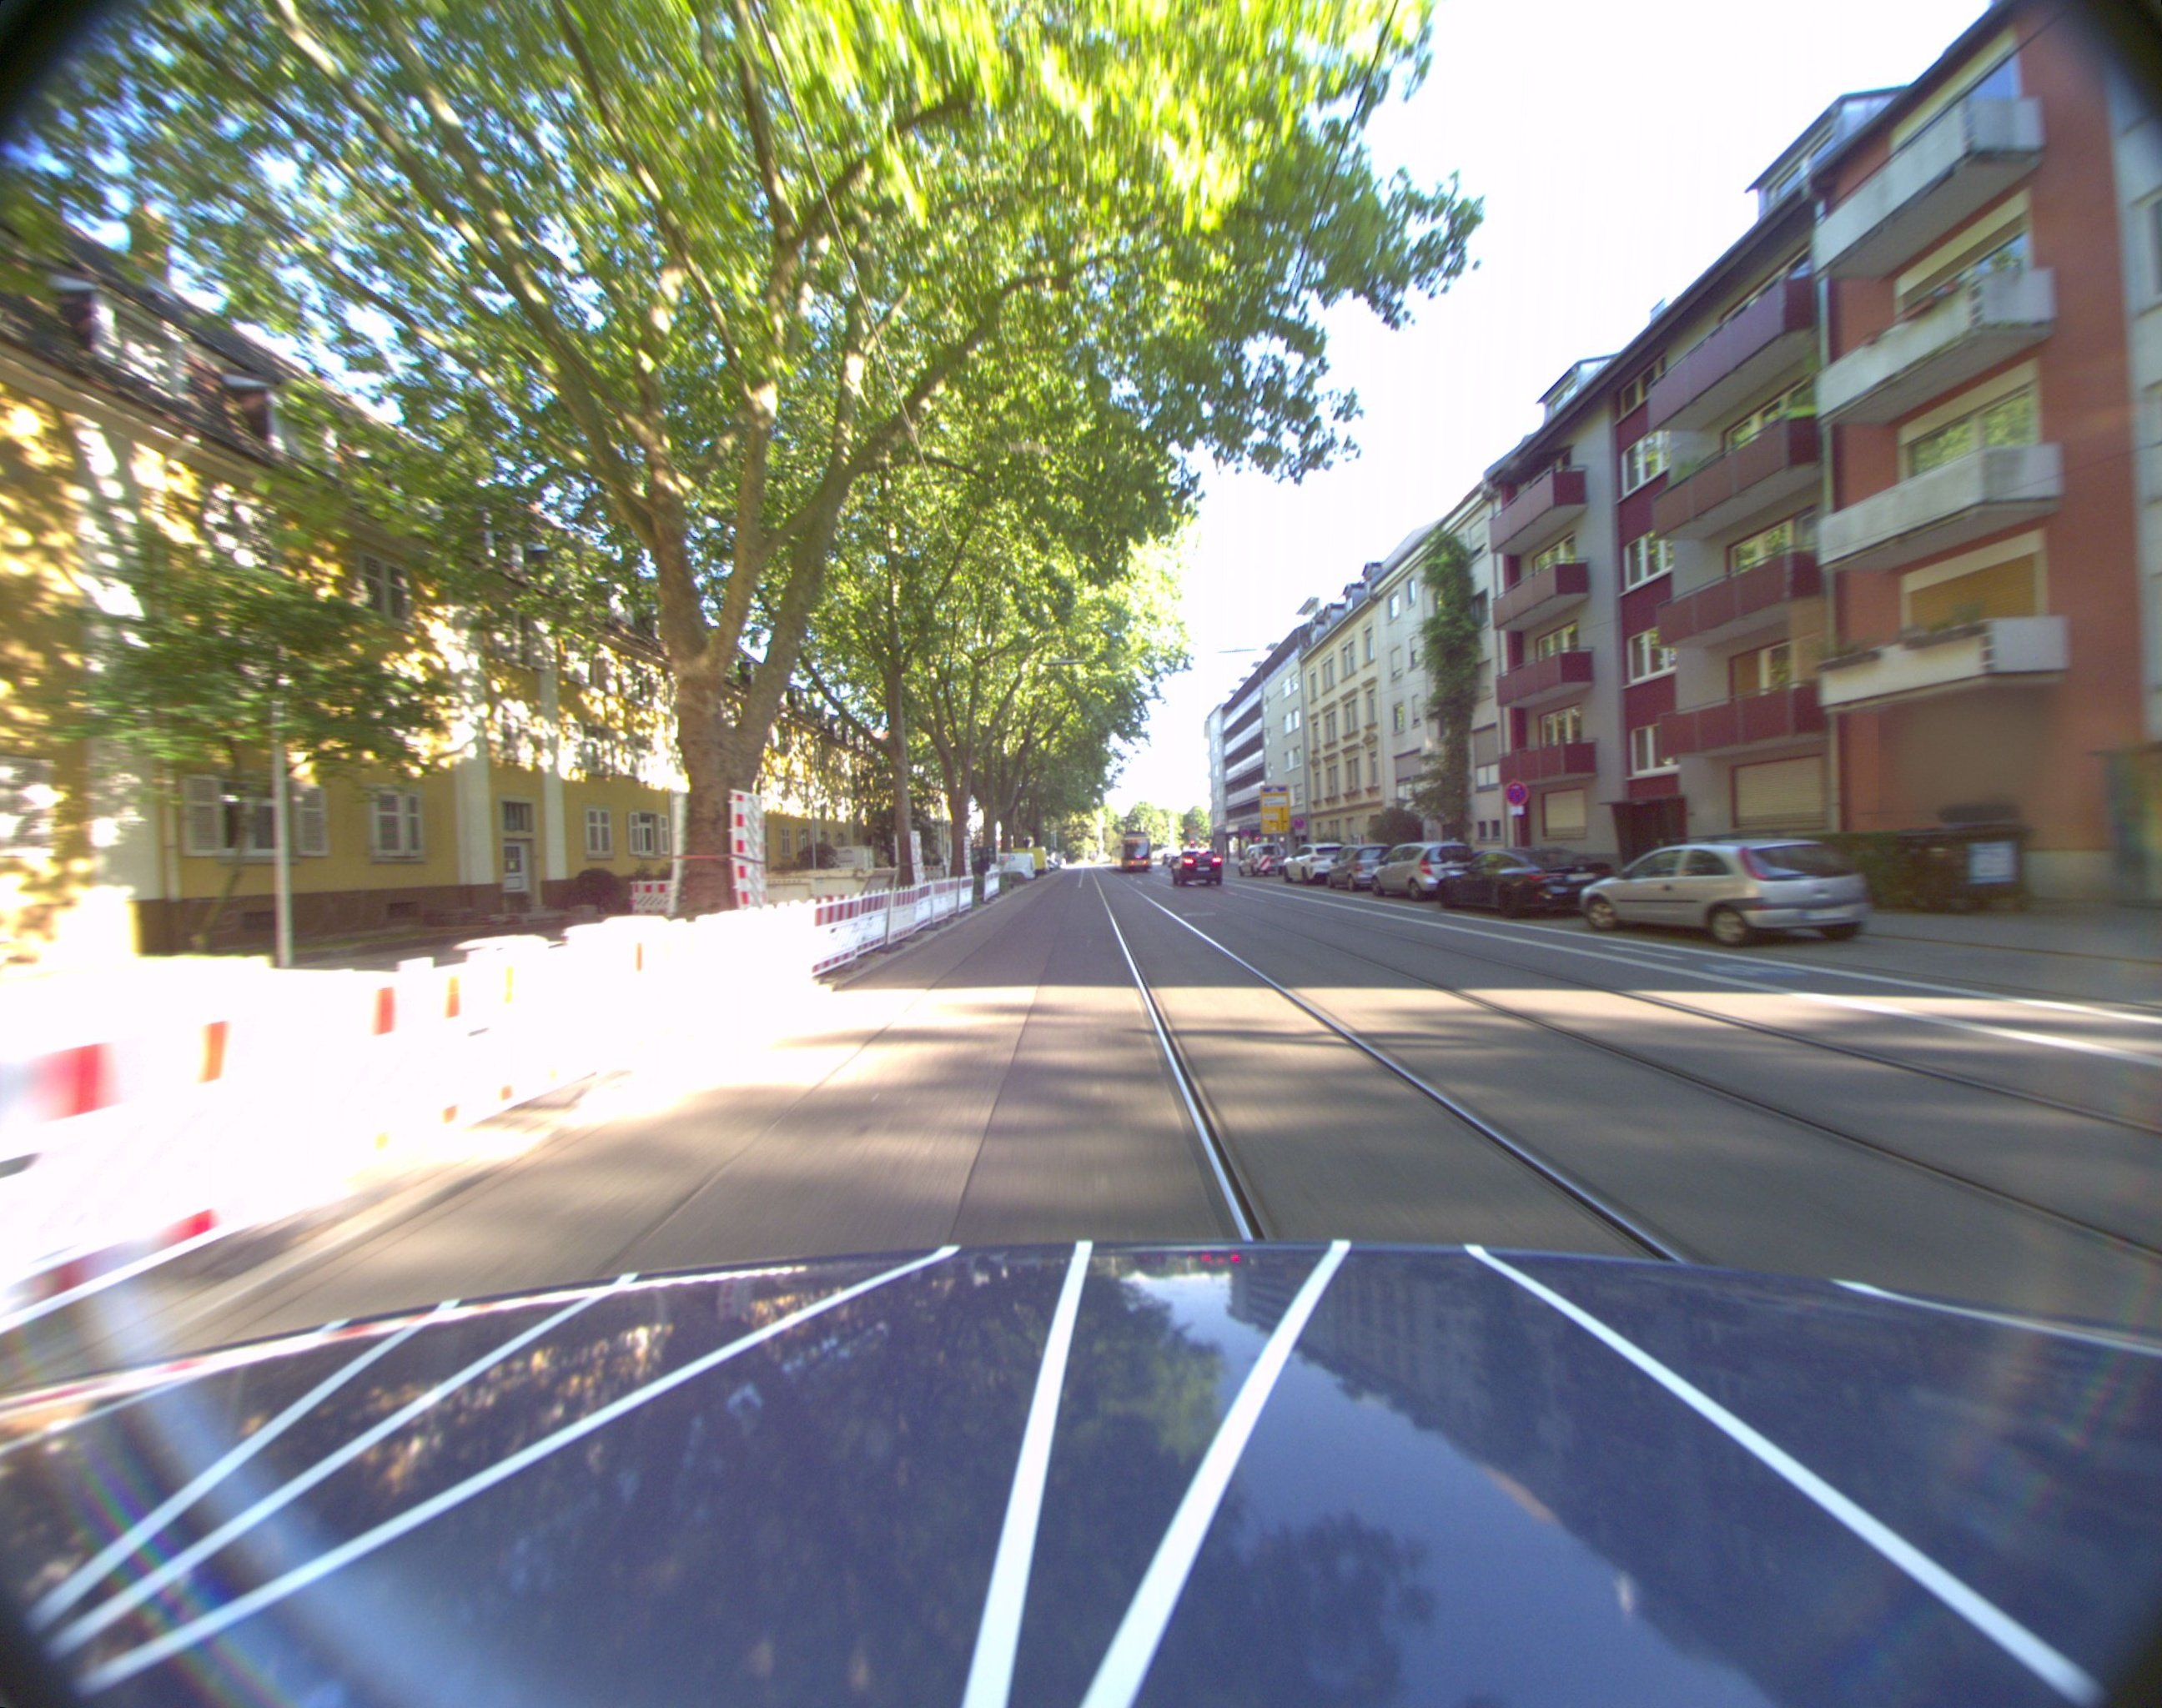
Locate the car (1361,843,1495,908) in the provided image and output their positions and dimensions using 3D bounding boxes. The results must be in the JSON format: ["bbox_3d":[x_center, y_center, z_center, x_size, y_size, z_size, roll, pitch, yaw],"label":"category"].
[{"bbox_3d":[9.773,0.562,21.774,1.824,1.577,4.004,-3,0,-2],"label":"car"}]

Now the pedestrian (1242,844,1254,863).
[{"bbox_3d":[15.989,-0.065,72.808,0.789,1.703,0.820,-5,1,0],"label":"pedestrian"}]

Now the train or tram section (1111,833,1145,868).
[{"bbox_3d":[4.978,-0.349,83.369,2.916,3.465,13.369,-2,0,0],"label":"train or tram section"}]

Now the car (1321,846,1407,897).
[{"bbox_3d":[9.820,0.552,26.634,1.630,1.563,3.781,-4,1,2],"label":"car"}]

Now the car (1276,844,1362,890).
[{"bbox_3d":[9.862,0.485,31.951,1.957,1.639,4.881,-4,1,-1],"label":"car"}]

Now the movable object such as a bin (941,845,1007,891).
[{"bbox_3d":[-5.515,0.697,39.489,1.482,2.256,3.283,-2,0,34],"label":"movable object such as a bin"}]

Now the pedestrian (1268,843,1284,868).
[{"bbox_3d":[14.377,0.141,56.024,0.866,1.774,0.736,-4,1,-1],"label":"pedestrian"}]

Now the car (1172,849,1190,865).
[{"bbox_3d":[10.933,0.316,82.906,1.799,1.438,4.716,-1,4,8],"label":"car"}]

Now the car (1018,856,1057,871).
[{"bbox_3d":[-5.140,1.162,89.885,4.437,1.648,1.908,-1,0,-1],"label":"car"}]

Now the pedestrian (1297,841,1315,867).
[{"bbox_3d":[16.266,-0.014,54.893,0.965,1.803,0.729,-4,1,2],"label":"pedestrian"}]

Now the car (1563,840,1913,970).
[{"bbox_3d":[9.371,0.622,11.352,1.729,1.474,3.930,-5,0,-1],"label":"car"}]

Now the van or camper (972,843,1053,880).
[{"bbox_3d":[-5.284,0.537,59.238,5.939,2.614,2.270,-2,1,3],"label":"van or camper"}]

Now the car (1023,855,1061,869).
[{"bbox_3d":[-5.331,1.123,104.311,5.126,1.845,1.914,-1,1,0],"label":"car"}]

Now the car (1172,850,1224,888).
[{"bbox_3d":[5.386,0.645,35.351,1.857,1.591,4.464,-1,1,2],"label":"car"}]

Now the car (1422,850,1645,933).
[{"bbox_3d":[9.499,0.692,16.546,1.957,1.387,4.863,-5,0,1],"label":"car"}]

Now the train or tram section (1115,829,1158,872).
[{"bbox_3d":[4.888,-0.289,69.616,2.916,3.465,14.197,-2,0,0],"label":"train or tram section"}]

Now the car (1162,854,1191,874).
[{"bbox_3d":[7.383,0.763,59.089,1.800,1.437,4.053,-1,0,1],"label":"car"}]

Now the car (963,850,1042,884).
[{"bbox_3d":[-5.092,0.844,49.599,4.847,2.001,2.063,-2,0,0],"label":"car"}]

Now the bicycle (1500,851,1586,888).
[{"bbox_3d":[14.643,0.488,24.097,2.296,0.987,0.699,-4,1,-2],"label":"bicycle"}]

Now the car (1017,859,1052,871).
[{"bbox_3d":[-5.127,1.216,84.391,3.660,1.416,1.866,0,0,2],"label":"car"}]

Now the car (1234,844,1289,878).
[{"bbox_3d":[10.153,0.388,43.015,1.793,1.760,4.470,-4,0,-3],"label":"car"}]

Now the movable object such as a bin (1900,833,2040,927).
[{"bbox_3d":[13.475,0.381,11.551,1.214,1.357,0.747,-2,1,2],"label":"movable object such as a bin"}]

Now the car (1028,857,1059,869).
[{"bbox_3d":[-4.767,1.136,96.447,3.891,1.488,1.741,-1,0,-2],"label":"car"}]
